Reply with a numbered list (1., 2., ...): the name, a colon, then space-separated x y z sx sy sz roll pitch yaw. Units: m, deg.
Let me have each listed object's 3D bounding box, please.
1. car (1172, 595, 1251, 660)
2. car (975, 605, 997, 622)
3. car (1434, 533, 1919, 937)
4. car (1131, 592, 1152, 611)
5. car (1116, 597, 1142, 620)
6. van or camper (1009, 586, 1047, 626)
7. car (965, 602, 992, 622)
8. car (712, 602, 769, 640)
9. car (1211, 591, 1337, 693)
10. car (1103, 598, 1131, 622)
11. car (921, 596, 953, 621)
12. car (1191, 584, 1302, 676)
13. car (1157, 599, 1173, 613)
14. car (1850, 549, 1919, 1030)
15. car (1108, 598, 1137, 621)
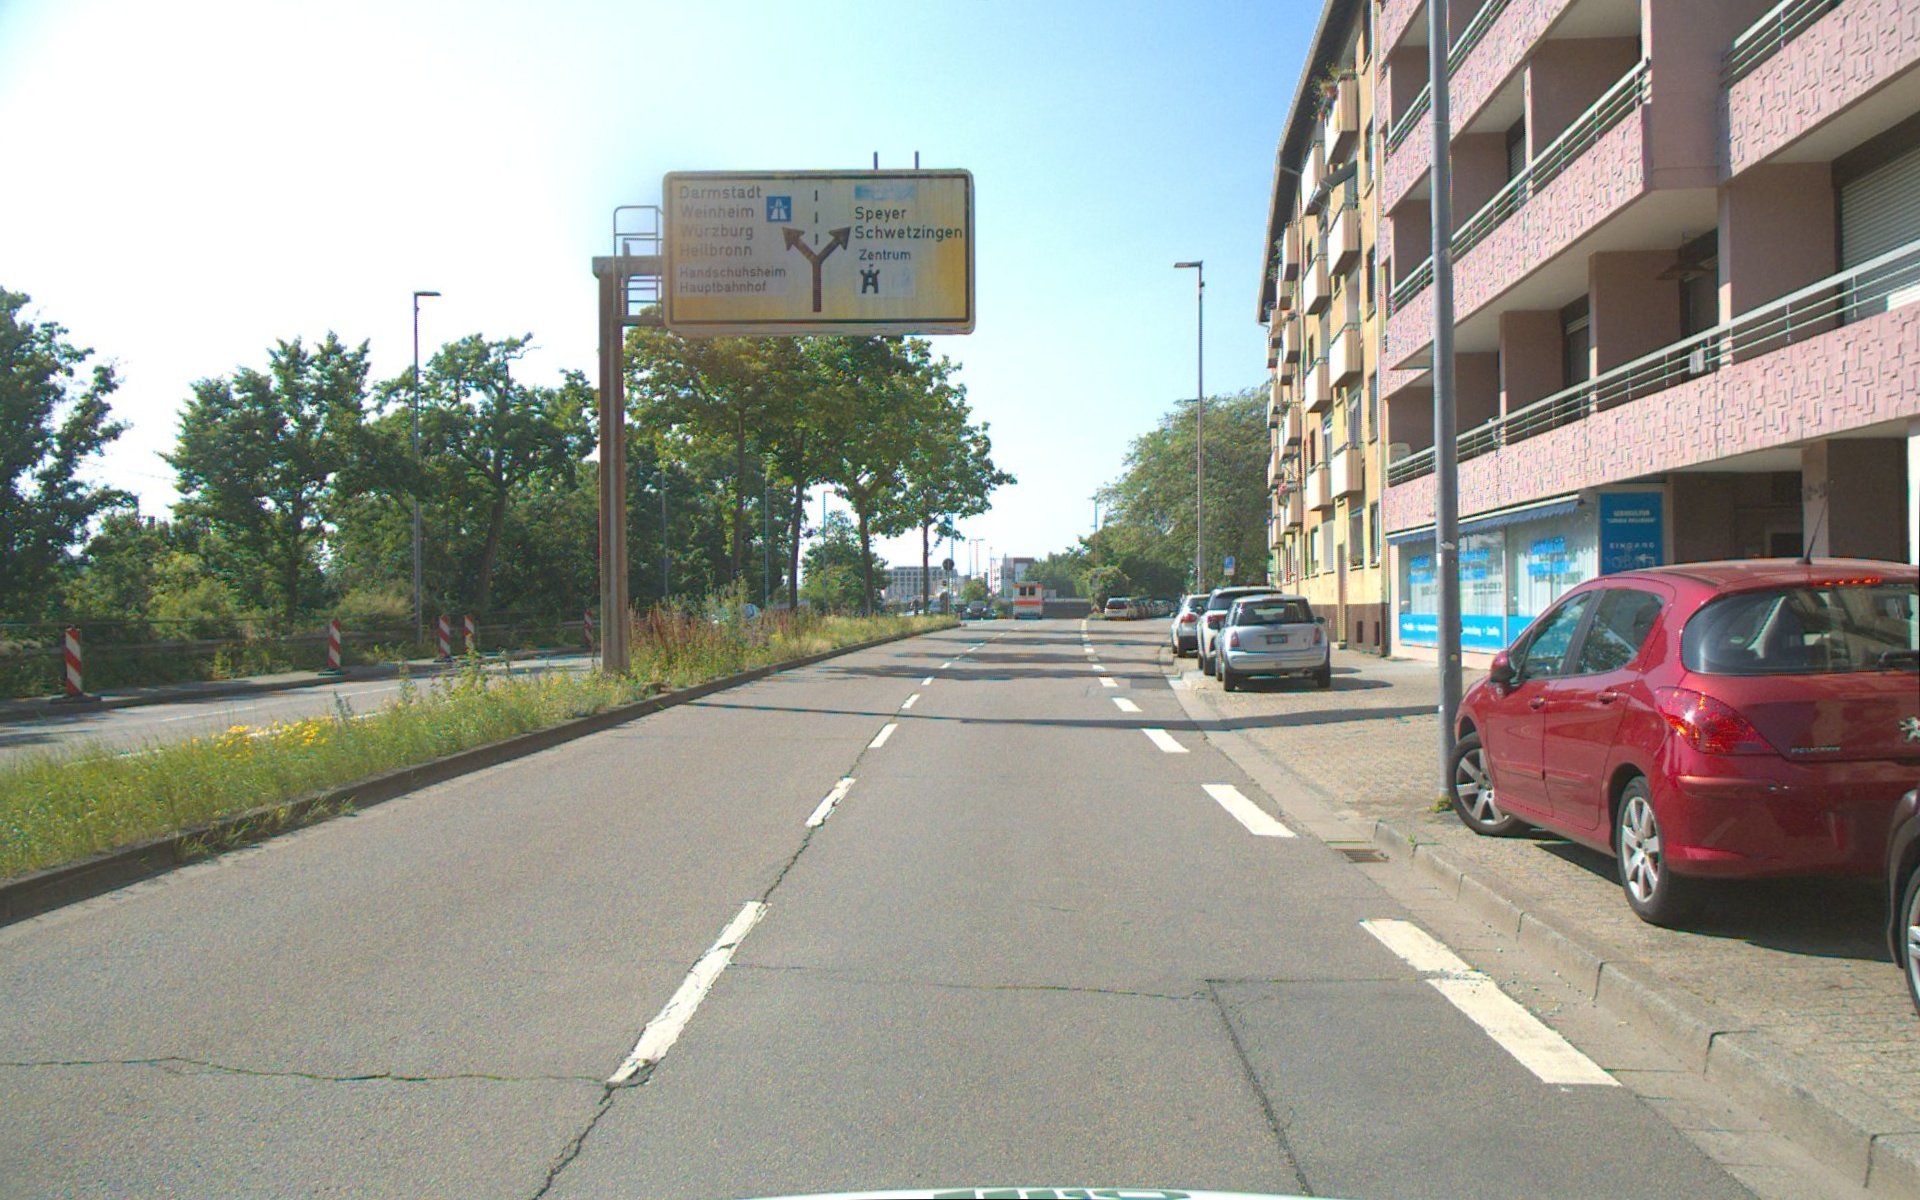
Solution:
1. car: 6.255 0.655 41.426 1.719 1.532 4.130 0 0 5
2. car: 2.763 1.401 175.422 1.951 1.764 4.732 -1 0 4
3. car: 3.794 0.502 8.298 1.748 1.508 4.001 -2 0 2
4. car: 15.781 0.126 143.708 1.628 1.538 3.792 1 0 10
5. car: 12.540 0.627 122.423 1.734 1.607 4.189 -1 0 8
6. van or camper: 5.071 0.459 122.520 2.247 2.838 5.575 0 0 8
7. car: 1.505 0.968 133.080 1.726 1.500 4.087 -1 0 6
8. car: -9.368 0.865 70.910 1.611 1.441 3.972 -4 0 3
9. car: 4.951 0.617 26.430 1.643 1.433 3.433 -3 0 6
10. car: 10.695 0.658 112.453 1.585 1.532 3.464 -1 0 10
11. car: -1.514 0.554 110.128 1.760 1.557 4.002 -1 0 4
12. car: 5.336 0.528 31.228 1.699 1.568 4.356 -2 0 6
13. car: 24.328 0.711 196.414 1.628 1.536 4.012 1 0 10
14. car: 3.662 0.560 3.354 1.608 1.478 4.128 -1 0 3
15. car: 11.524 0.661 117.005 1.684 1.532 4.135 -1 0 10
